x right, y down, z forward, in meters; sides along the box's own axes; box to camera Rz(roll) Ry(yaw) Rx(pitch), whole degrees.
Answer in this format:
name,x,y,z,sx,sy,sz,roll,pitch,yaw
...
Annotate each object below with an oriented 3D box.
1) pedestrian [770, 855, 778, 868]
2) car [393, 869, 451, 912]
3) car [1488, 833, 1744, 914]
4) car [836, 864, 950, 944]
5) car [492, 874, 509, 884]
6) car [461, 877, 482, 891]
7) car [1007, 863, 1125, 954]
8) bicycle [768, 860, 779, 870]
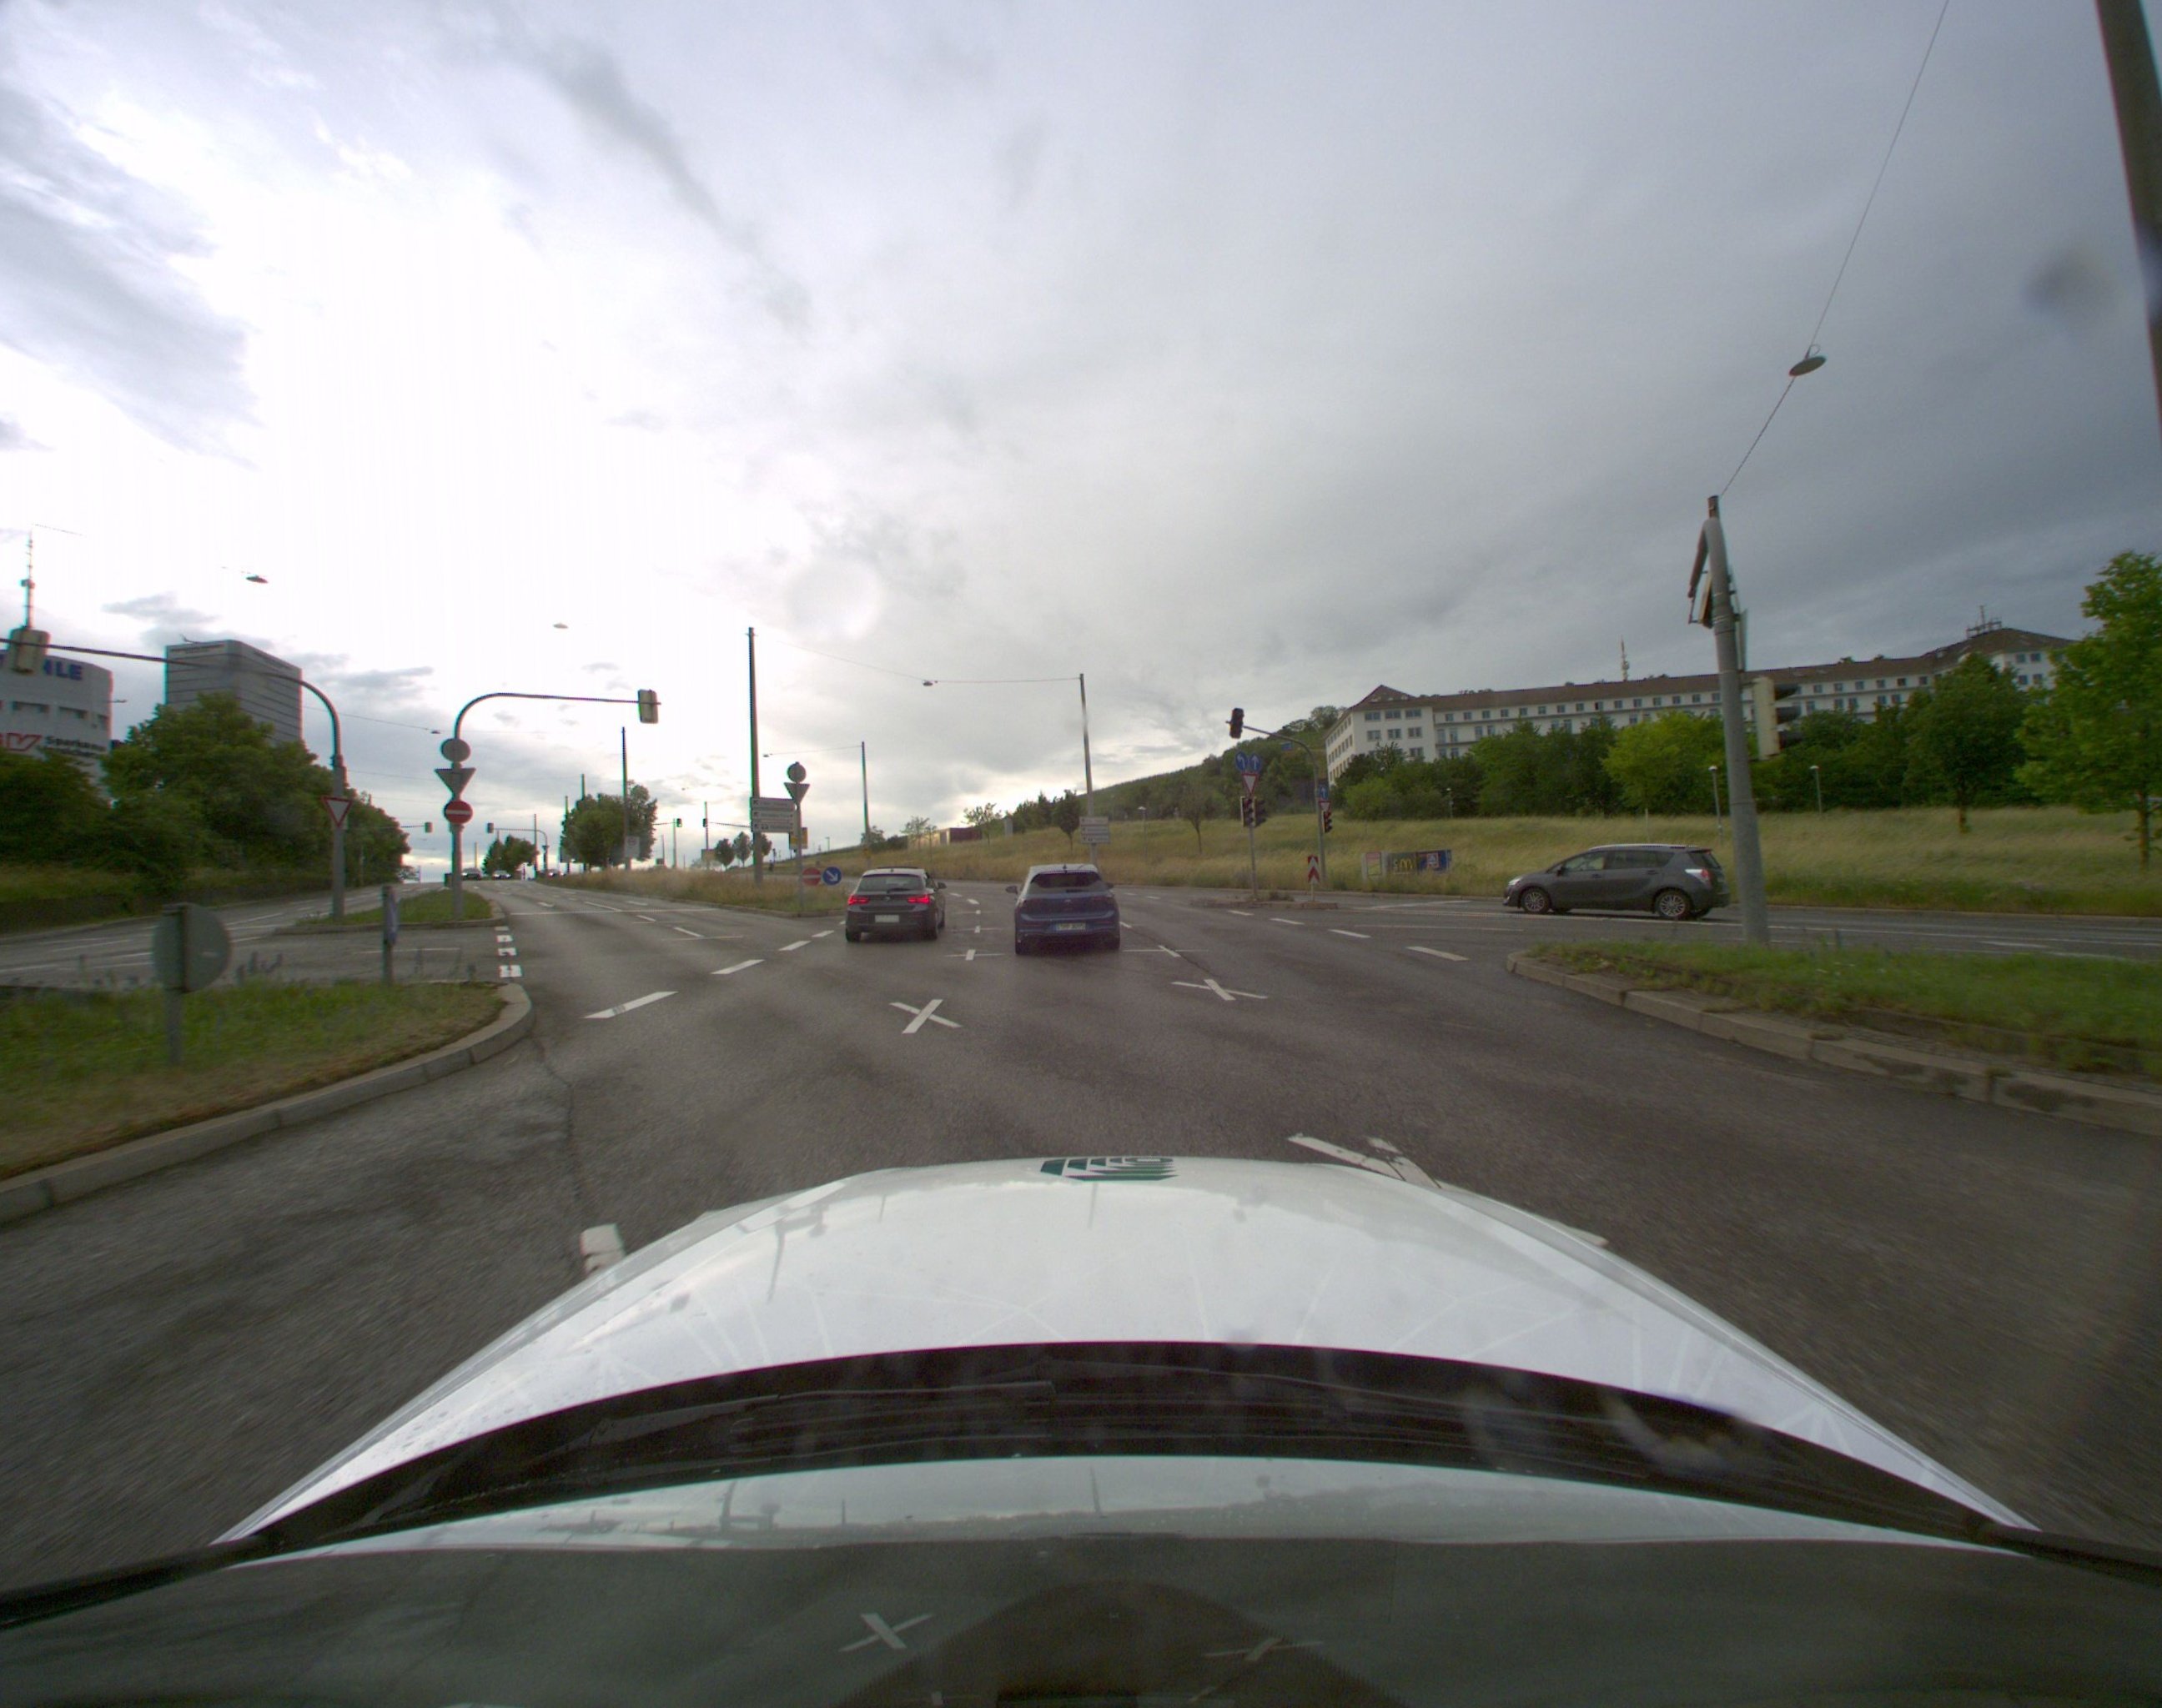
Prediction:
name,x,y,z,sx,sy,sz,roll,pitch,yaw
pedestrian,-39.392,0.967,104.447,0.638,1.571,0.884,-2,-1,-44
car,-33.768,1.853,41.845,2.009,2.013,3.956,-2,0,-36
car,12.244,0.479,18.922,2.010,1.642,4.574,2,-3,-39
car,-3.855,0.974,17.321,1.867,1.461,3.967,-1,-1,-6
car,-83.592,3.603,117.264,1.824,1.470,3.571,1,-2,-38
car,-75.625,3.721,100.987,1.877,1.620,3.953,0,-1,-39
car,-0.366,0.876,14.845,1.834,1.393,3.994,-1,-1,-4
bicycle,-39.467,1.417,104.531,0.638,1.105,1.731,-3,-1,-44
